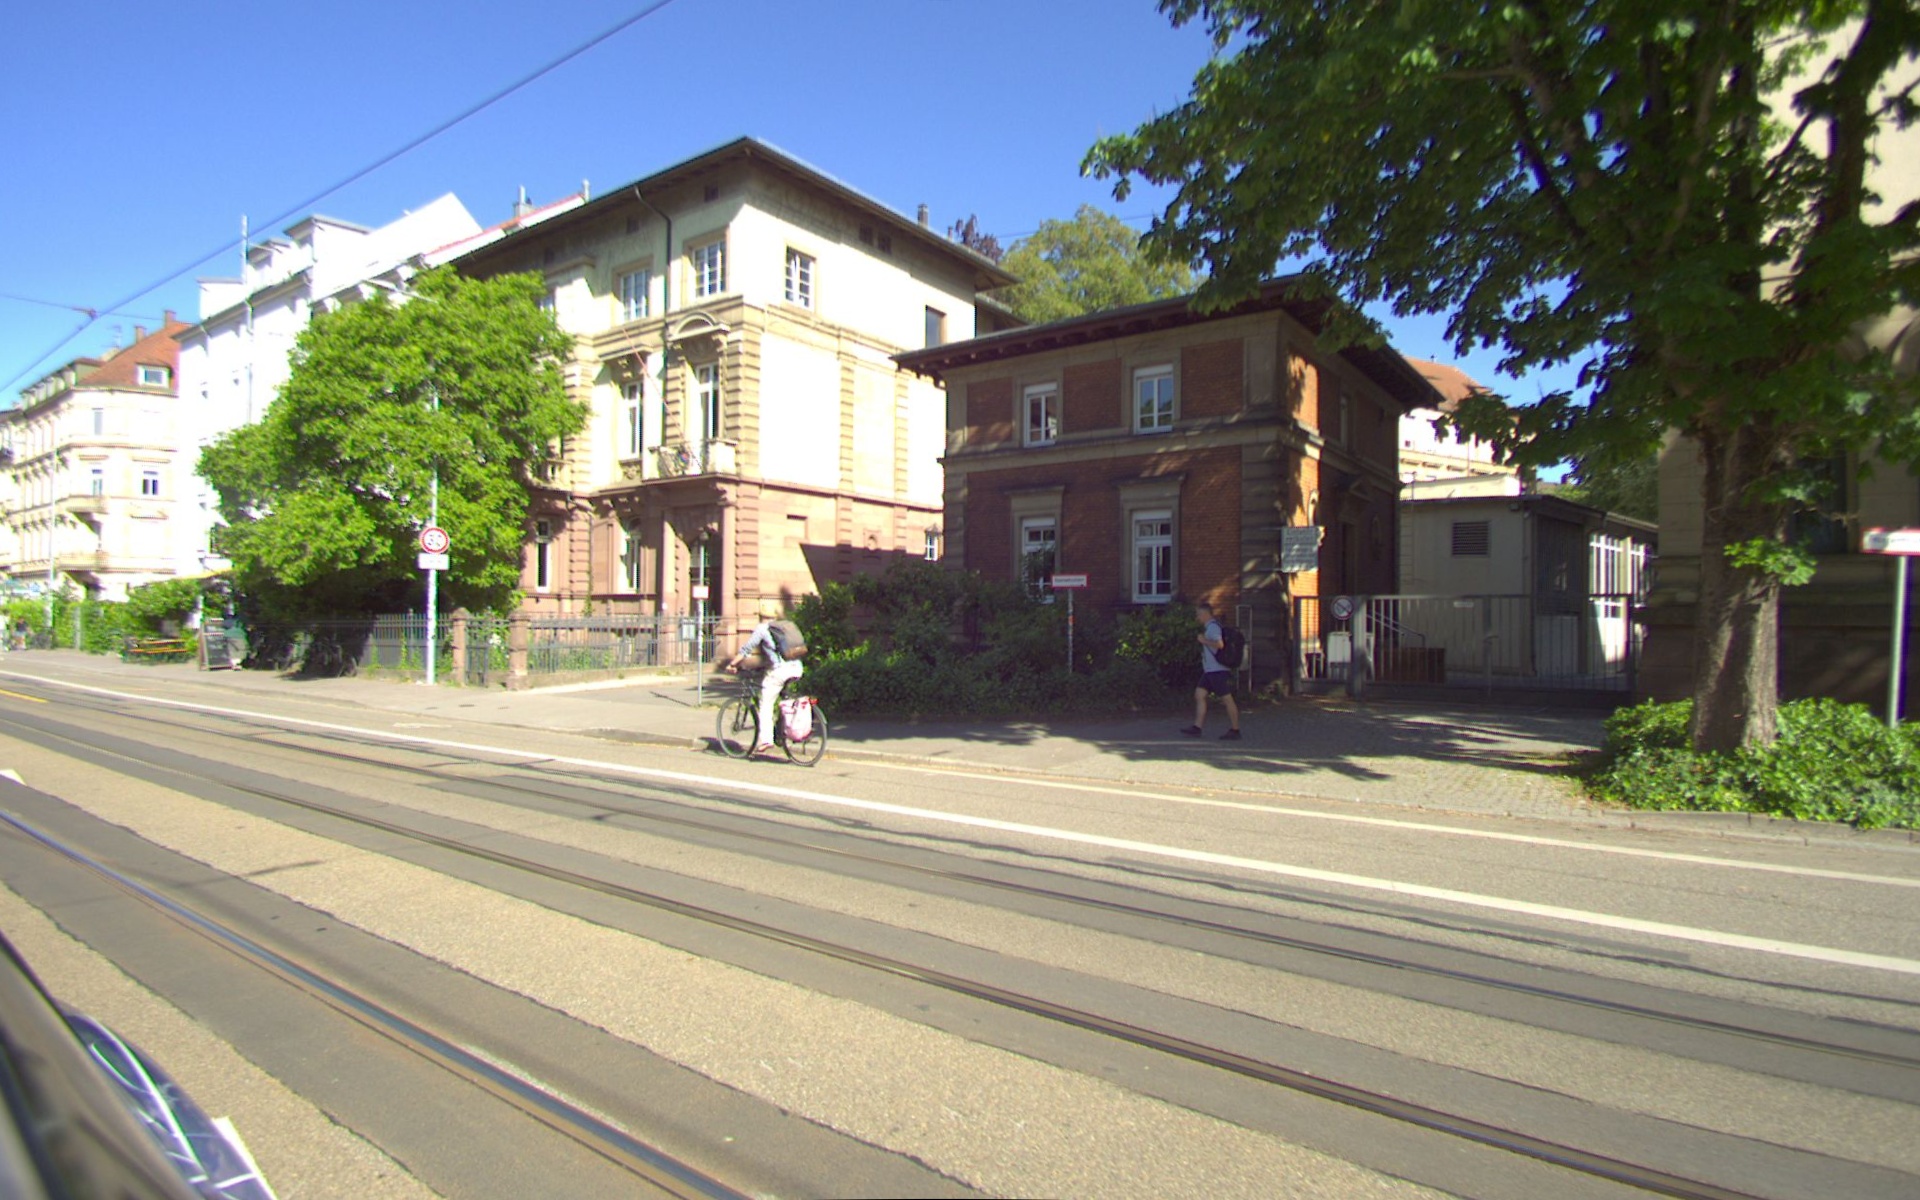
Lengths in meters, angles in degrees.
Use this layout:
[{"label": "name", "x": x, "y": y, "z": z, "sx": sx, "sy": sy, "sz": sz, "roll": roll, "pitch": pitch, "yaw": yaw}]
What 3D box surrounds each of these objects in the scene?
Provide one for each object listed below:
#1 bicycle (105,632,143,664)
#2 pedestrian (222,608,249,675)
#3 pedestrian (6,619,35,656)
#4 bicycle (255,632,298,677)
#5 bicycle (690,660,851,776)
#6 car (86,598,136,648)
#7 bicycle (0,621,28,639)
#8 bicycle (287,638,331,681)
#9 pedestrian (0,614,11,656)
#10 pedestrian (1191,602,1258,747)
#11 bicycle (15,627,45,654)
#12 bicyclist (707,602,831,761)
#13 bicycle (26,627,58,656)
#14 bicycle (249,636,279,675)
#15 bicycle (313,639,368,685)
[{"label": "bicycle", "x": -29.137, "y": 1.659, "z": 35.263, "sx": 1.740, "sy": 1.067, "sz": 0.632, "roll": -1, "pitch": 1, "yaw": 38}, {"label": "pedestrian", "x": -20.501, "y": 1.166, "z": 28.649, "sx": 0.568, "sy": 1.845, "sz": 0.691, "roll": 1, "pitch": -2, "yaw": -34}, {"label": "pedestrian", "x": -39.750, "y": 1.578, "z": 42.832, "sx": 0.955, "sy": 1.489, "sz": 0.747, "roll": -1, "pitch": 0, "yaw": 37}, {"label": "bicycle", "x": -18.995, "y": 1.493, "z": 28.116, "sx": 0.638, "sy": 1.152, "sz": 1.906, "roll": -1, "pitch": 0, "yaw": -45}, {"label": "bicycle", "x": -2.131, "y": 1.260, "z": 11.242, "sx": 1.930, "sy": 1.133, "sz": 0.679, "roll": -1, "pitch": -4, "yaw": 41}, {"label": "car", "x": -50.227, "y": 1.326, "z": 59.971, "sx": 1.861, "sy": 2.862, "sz": 4.795, "roll": 2, "pitch": -1, "yaw": -36}, {"label": "bicycle", "x": -57.639, "y": 1.826, "z": 60.911, "sx": 2.213, "sy": 1.052, "sz": 0.876, "roll": 2, "pitch": -1, "yaw": -44}, {"label": "bicycle", "x": -17.135, "y": 1.535, "z": 26.613, "sx": 0.583, "sy": 1.053, "sz": 1.906, "roll": 0, "pitch": -1, "yaw": -45}, {"label": "pedestrian", "x": -40.182, "y": 1.464, "z": 42.216, "sx": 0.807, "sy": 1.727, "sz": 0.747, "roll": -1, "pitch": 0, "yaw": 37}, {"label": "pedestrian", "x": 3.439, "y": 0.950, "z": 13.212, "sx": 0.772, "sy": 1.810, "sz": 0.729, "roll": -1, "pitch": 1, "yaw": 12}, {"label": "bicycle", "x": -40.154, "y": 1.737, "z": 43.693, "sx": 1.837, "sy": 1.097, "sz": 0.655, "roll": 0, "pitch": 2, "yaw": 38}, {"label": "bicyclist", "x": -2.135, "y": 0.875, "z": 11.276, "sx": 1.237, "sy": 1.657, "sz": 0.679, "roll": -1, "pitch": -4, "yaw": 41}, {"label": "bicycle", "x": -38.581, "y": 1.728, "z": 42.517, "sx": 1.837, "sy": 1.097, "sz": 0.655, "roll": 0, "pitch": 2, "yaw": 38}, {"label": "bicycle", "x": -19.924, "y": 1.568, "z": 28.961, "sx": 0.628, "sy": 1.053, "sz": 2.026, "roll": 1, "pitch": -2, "yaw": -37}, {"label": "bicycle", "x": -15.442, "y": 1.530, "z": 25.208, "sx": 1.903, "sy": 1.053, "sz": 0.584, "roll": -1, "pitch": 0, "yaw": 40}]
